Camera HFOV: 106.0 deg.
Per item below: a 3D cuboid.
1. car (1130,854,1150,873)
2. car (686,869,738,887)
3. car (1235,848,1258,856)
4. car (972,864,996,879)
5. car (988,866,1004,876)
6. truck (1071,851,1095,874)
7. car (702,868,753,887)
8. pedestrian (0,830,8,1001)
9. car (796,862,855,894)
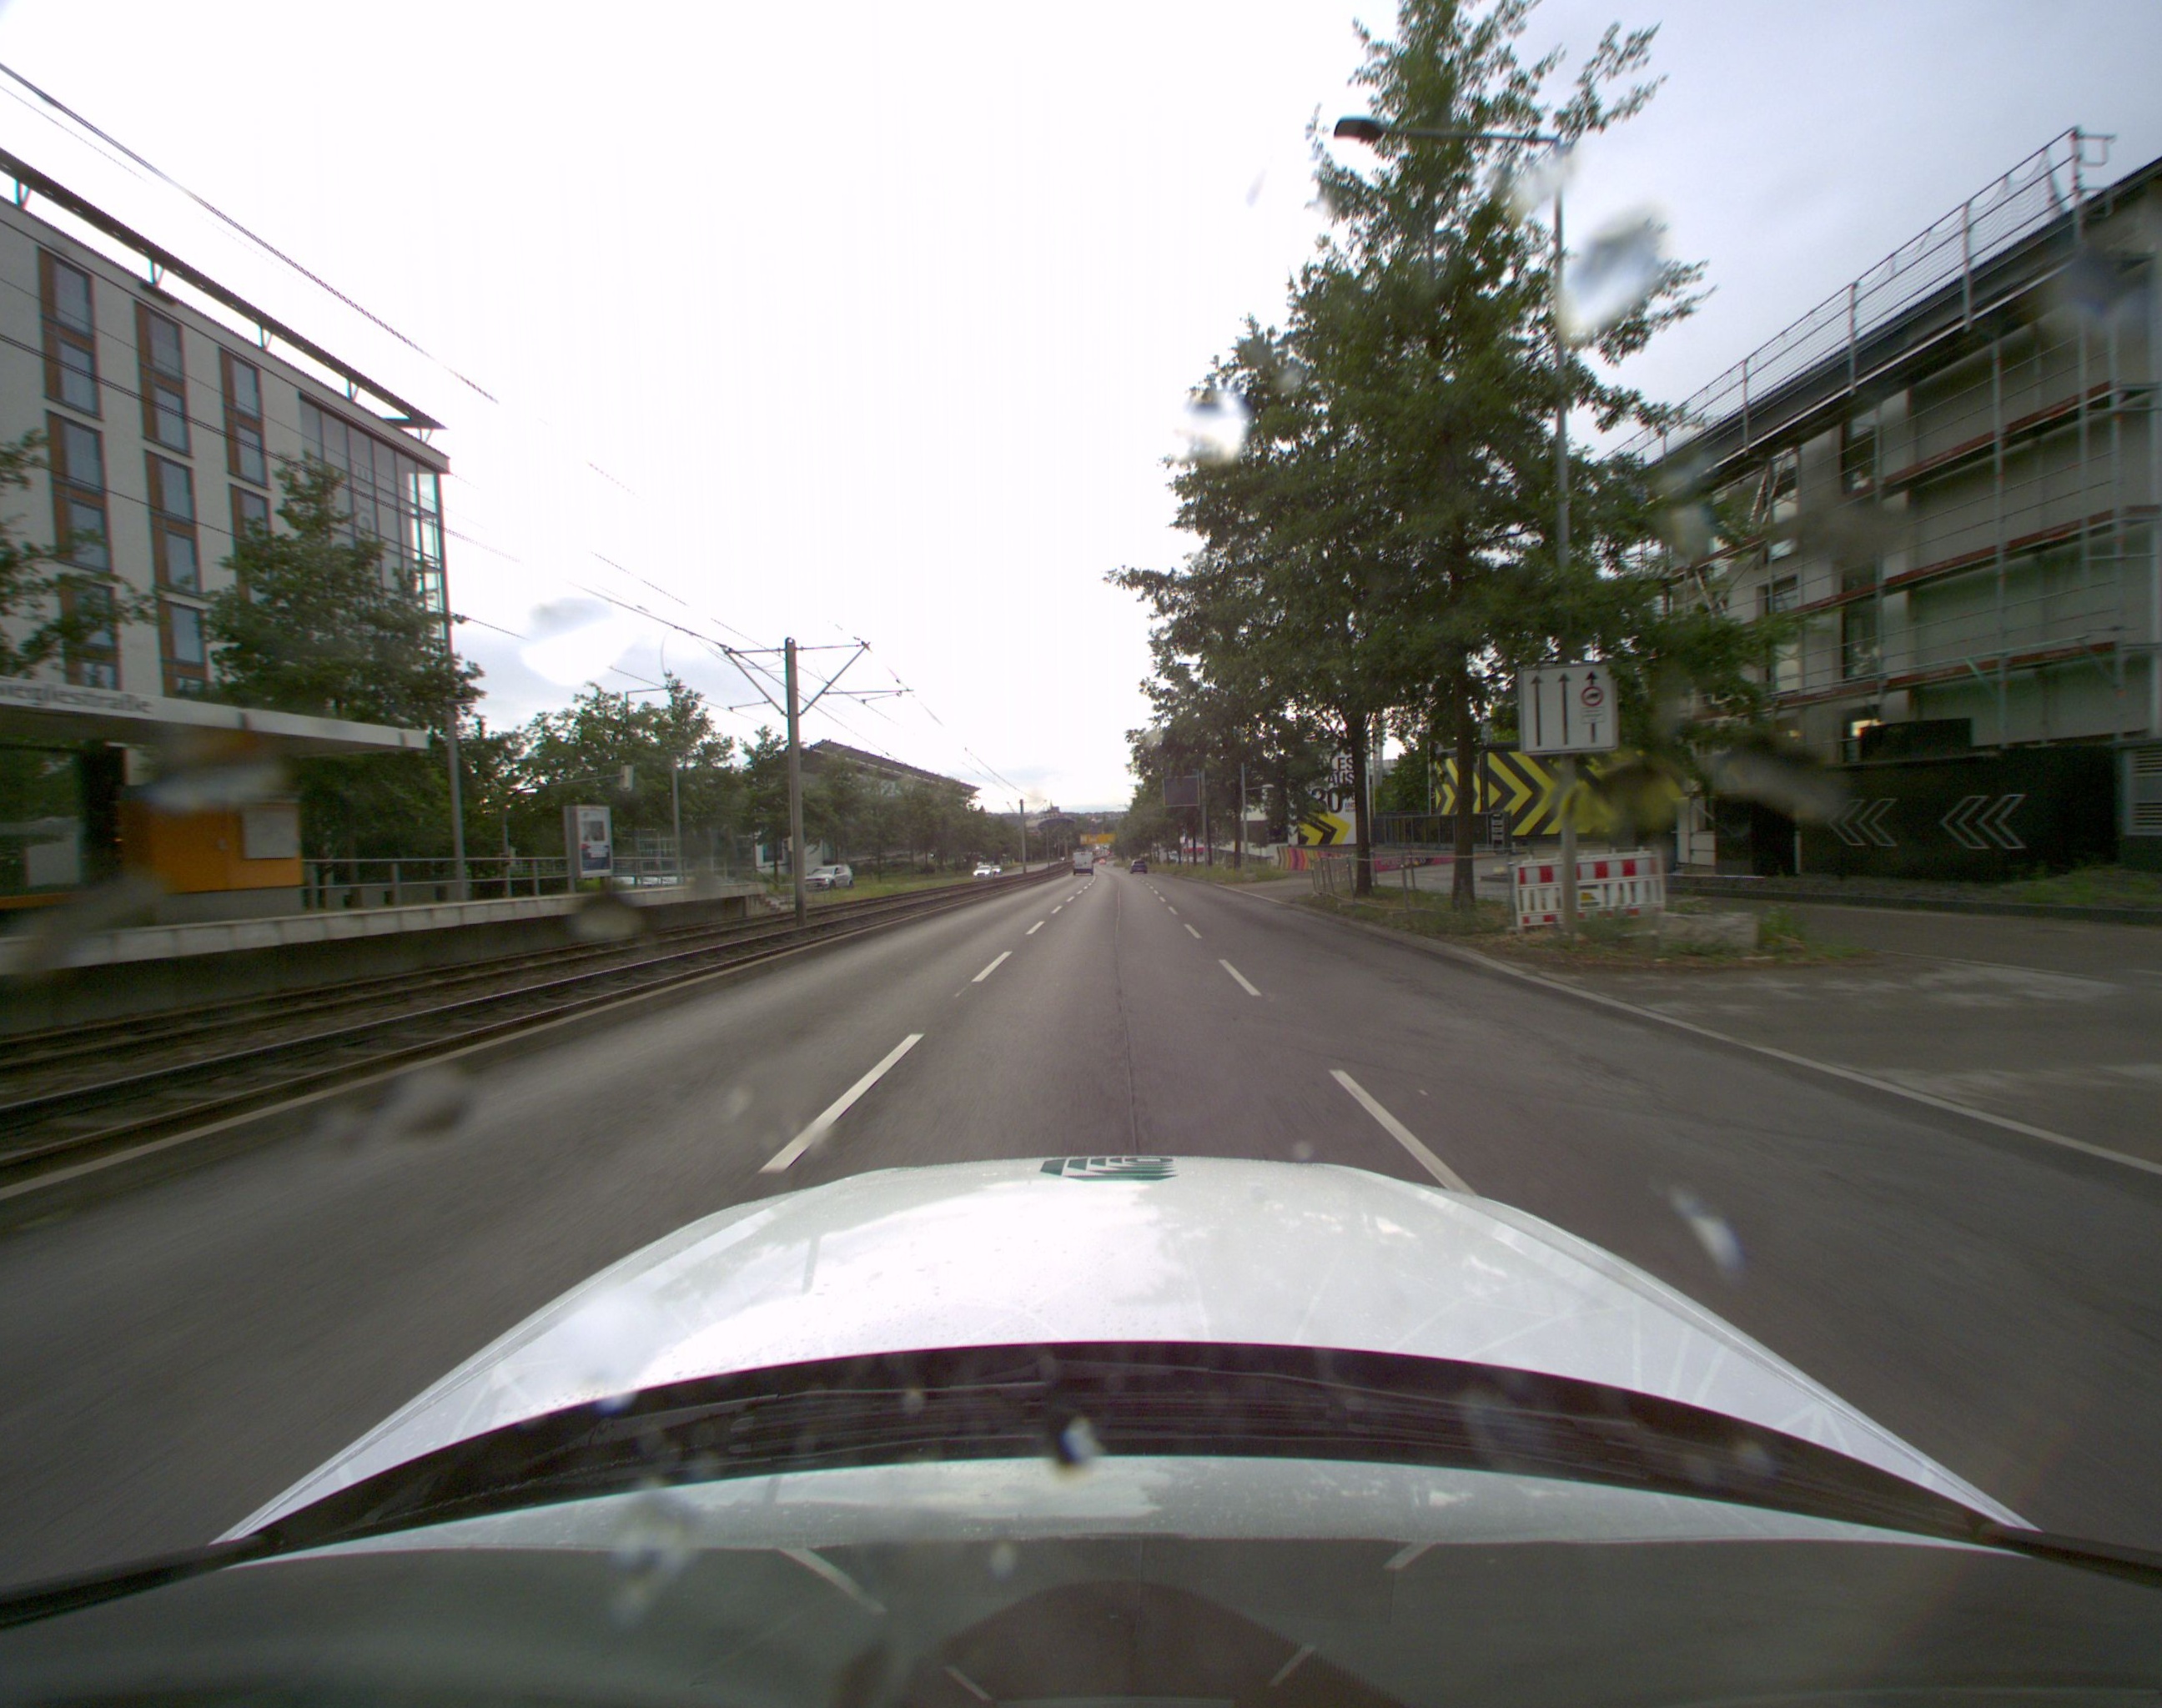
[{"bbox_3d":[6.385,1.008,88.412,1.986,2.014,3.936,-1,-1,2],"label":"car"},{"bbox_3d":[-34.256,2.187,75.648,4.035,1.618,1.640,-1,-1,4],"label":"car"},{"bbox_3d":[30.996,-0.348,152.402,3.968,1.354,2.003,-1,-1,5],"label":"car"},{"bbox_3d":[-10.762,1.965,90.734,1.830,1.444,4.431,-4,0,2],"label":"car"},{"bbox_3d":[-12.904,2.578,123.883,1.873,1.447,4.140,-2,-1,2],"label":"car"},{"bbox_3d":[0.212,0.894,82.591,2.352,2.262,5.305,0,-1,0],"label":"truck"},{"bbox_3d":[-34.042,2.253,78.408,4.053,1.836,1.864,-1,-1,4],"label":"car"},{"bbox_3d":[-13.333,0.722,9.038,1.122,2.014,1.271,0,-1,2],"label":"pedestrian"},{"bbox_3d":[-16.420,1.507,52.681,1.986,1.847,5.004,-3,0,2],"label":"car"}]
